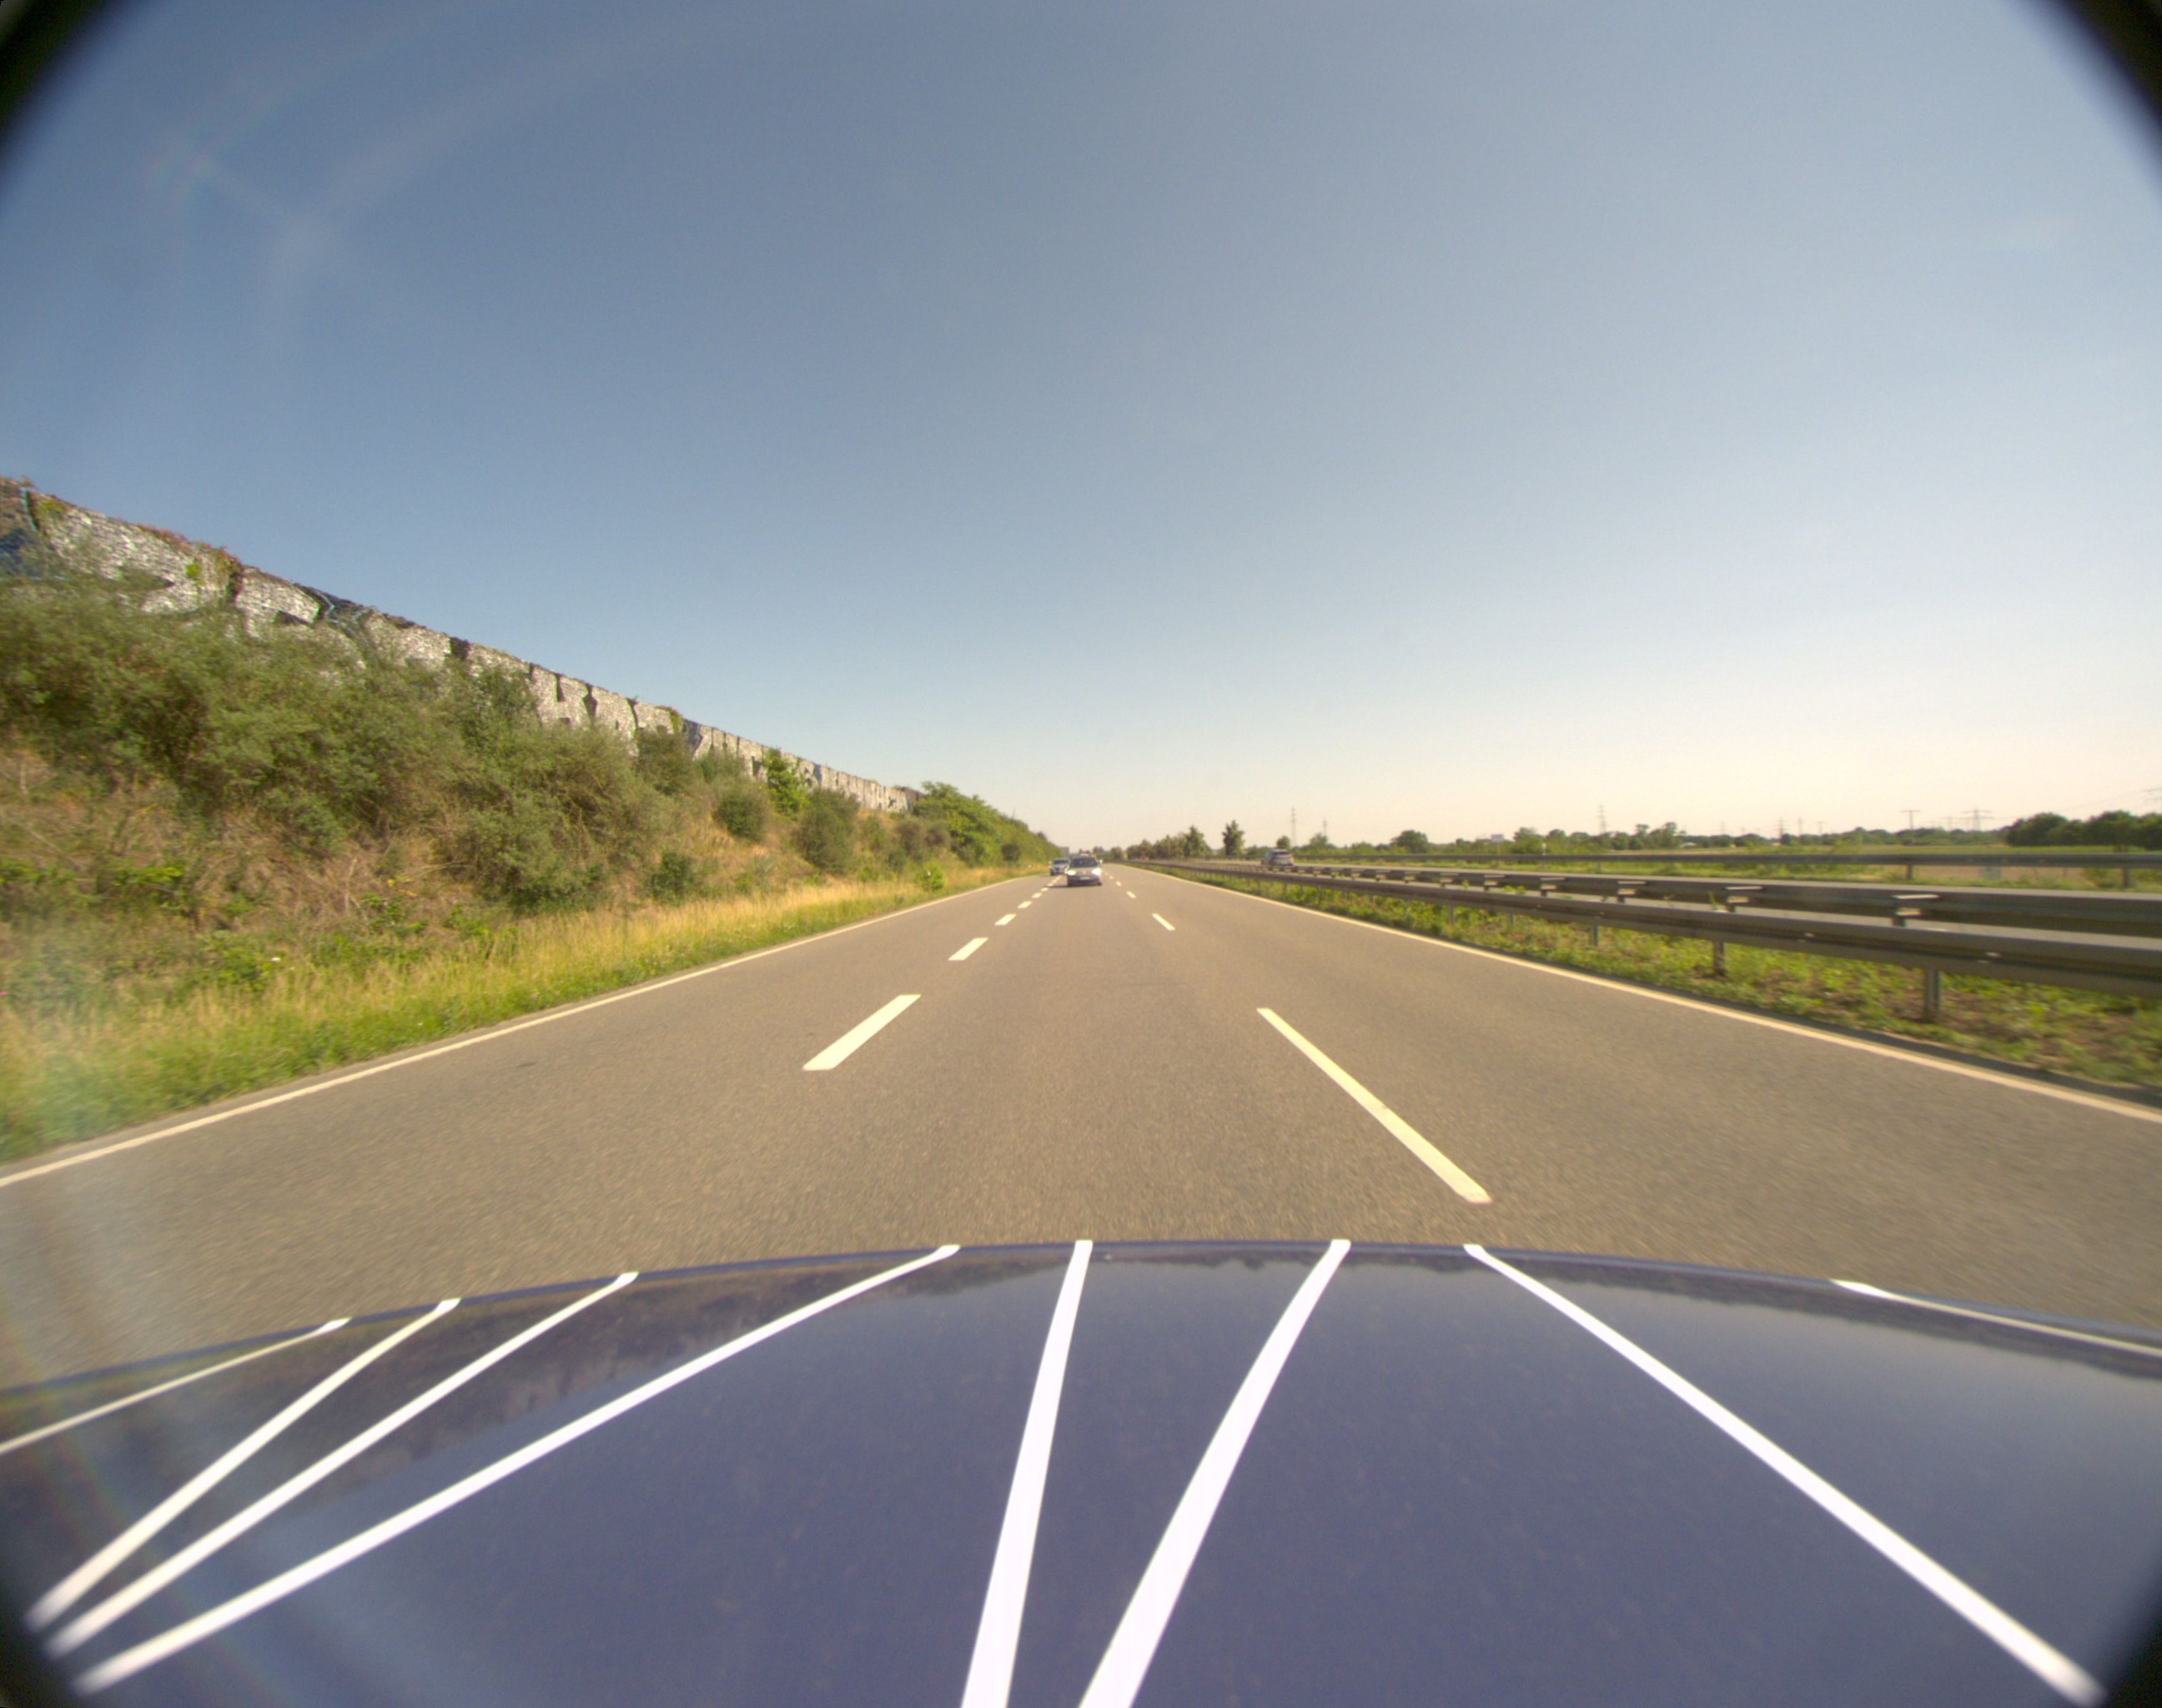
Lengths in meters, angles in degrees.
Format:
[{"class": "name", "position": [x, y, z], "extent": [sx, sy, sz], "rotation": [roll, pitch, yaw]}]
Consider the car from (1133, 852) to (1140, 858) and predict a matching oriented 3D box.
[{"class": "car", "position": [15.742, 0.305, 215.468], "extent": [1.717, 1.442, 4.323], "rotation": [-3, 0, -1]}]

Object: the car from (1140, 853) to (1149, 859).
[{"class": "car", "position": [15.882, 0.451, 190.010], "extent": [1.872, 1.426, 4.935], "rotation": [-4, 0, 0]}]

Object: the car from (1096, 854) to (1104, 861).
[{"class": "car", "position": [5.059, 0.931, 201.395], "extent": [1.790, 1.659, 3.999], "rotation": [-3, 0, -1]}]

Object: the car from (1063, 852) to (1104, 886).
[{"class": "car", "position": [0.184, 0.765, 40.256], "extent": [1.854, 1.635, 4.001], "rotation": [-3, 0, 3]}]

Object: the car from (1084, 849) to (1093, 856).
[{"class": "car", "position": [1.461, -0.300, 150.315], "extent": [1.790, 1.212, 3.999], "rotation": [-3, 0, -1]}]

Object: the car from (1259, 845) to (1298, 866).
[{"class": "car", "position": [15.504, 0.130, 59.824], "extent": [1.704, 1.476, 4.620], "rotation": [-5, 0, 0]}]

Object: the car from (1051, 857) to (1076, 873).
[{"class": "car", "position": [-1.480, 0.974, 66.046], "extent": [1.854, 1.212, 4.000], "rotation": [-3, 0, 2]}]
